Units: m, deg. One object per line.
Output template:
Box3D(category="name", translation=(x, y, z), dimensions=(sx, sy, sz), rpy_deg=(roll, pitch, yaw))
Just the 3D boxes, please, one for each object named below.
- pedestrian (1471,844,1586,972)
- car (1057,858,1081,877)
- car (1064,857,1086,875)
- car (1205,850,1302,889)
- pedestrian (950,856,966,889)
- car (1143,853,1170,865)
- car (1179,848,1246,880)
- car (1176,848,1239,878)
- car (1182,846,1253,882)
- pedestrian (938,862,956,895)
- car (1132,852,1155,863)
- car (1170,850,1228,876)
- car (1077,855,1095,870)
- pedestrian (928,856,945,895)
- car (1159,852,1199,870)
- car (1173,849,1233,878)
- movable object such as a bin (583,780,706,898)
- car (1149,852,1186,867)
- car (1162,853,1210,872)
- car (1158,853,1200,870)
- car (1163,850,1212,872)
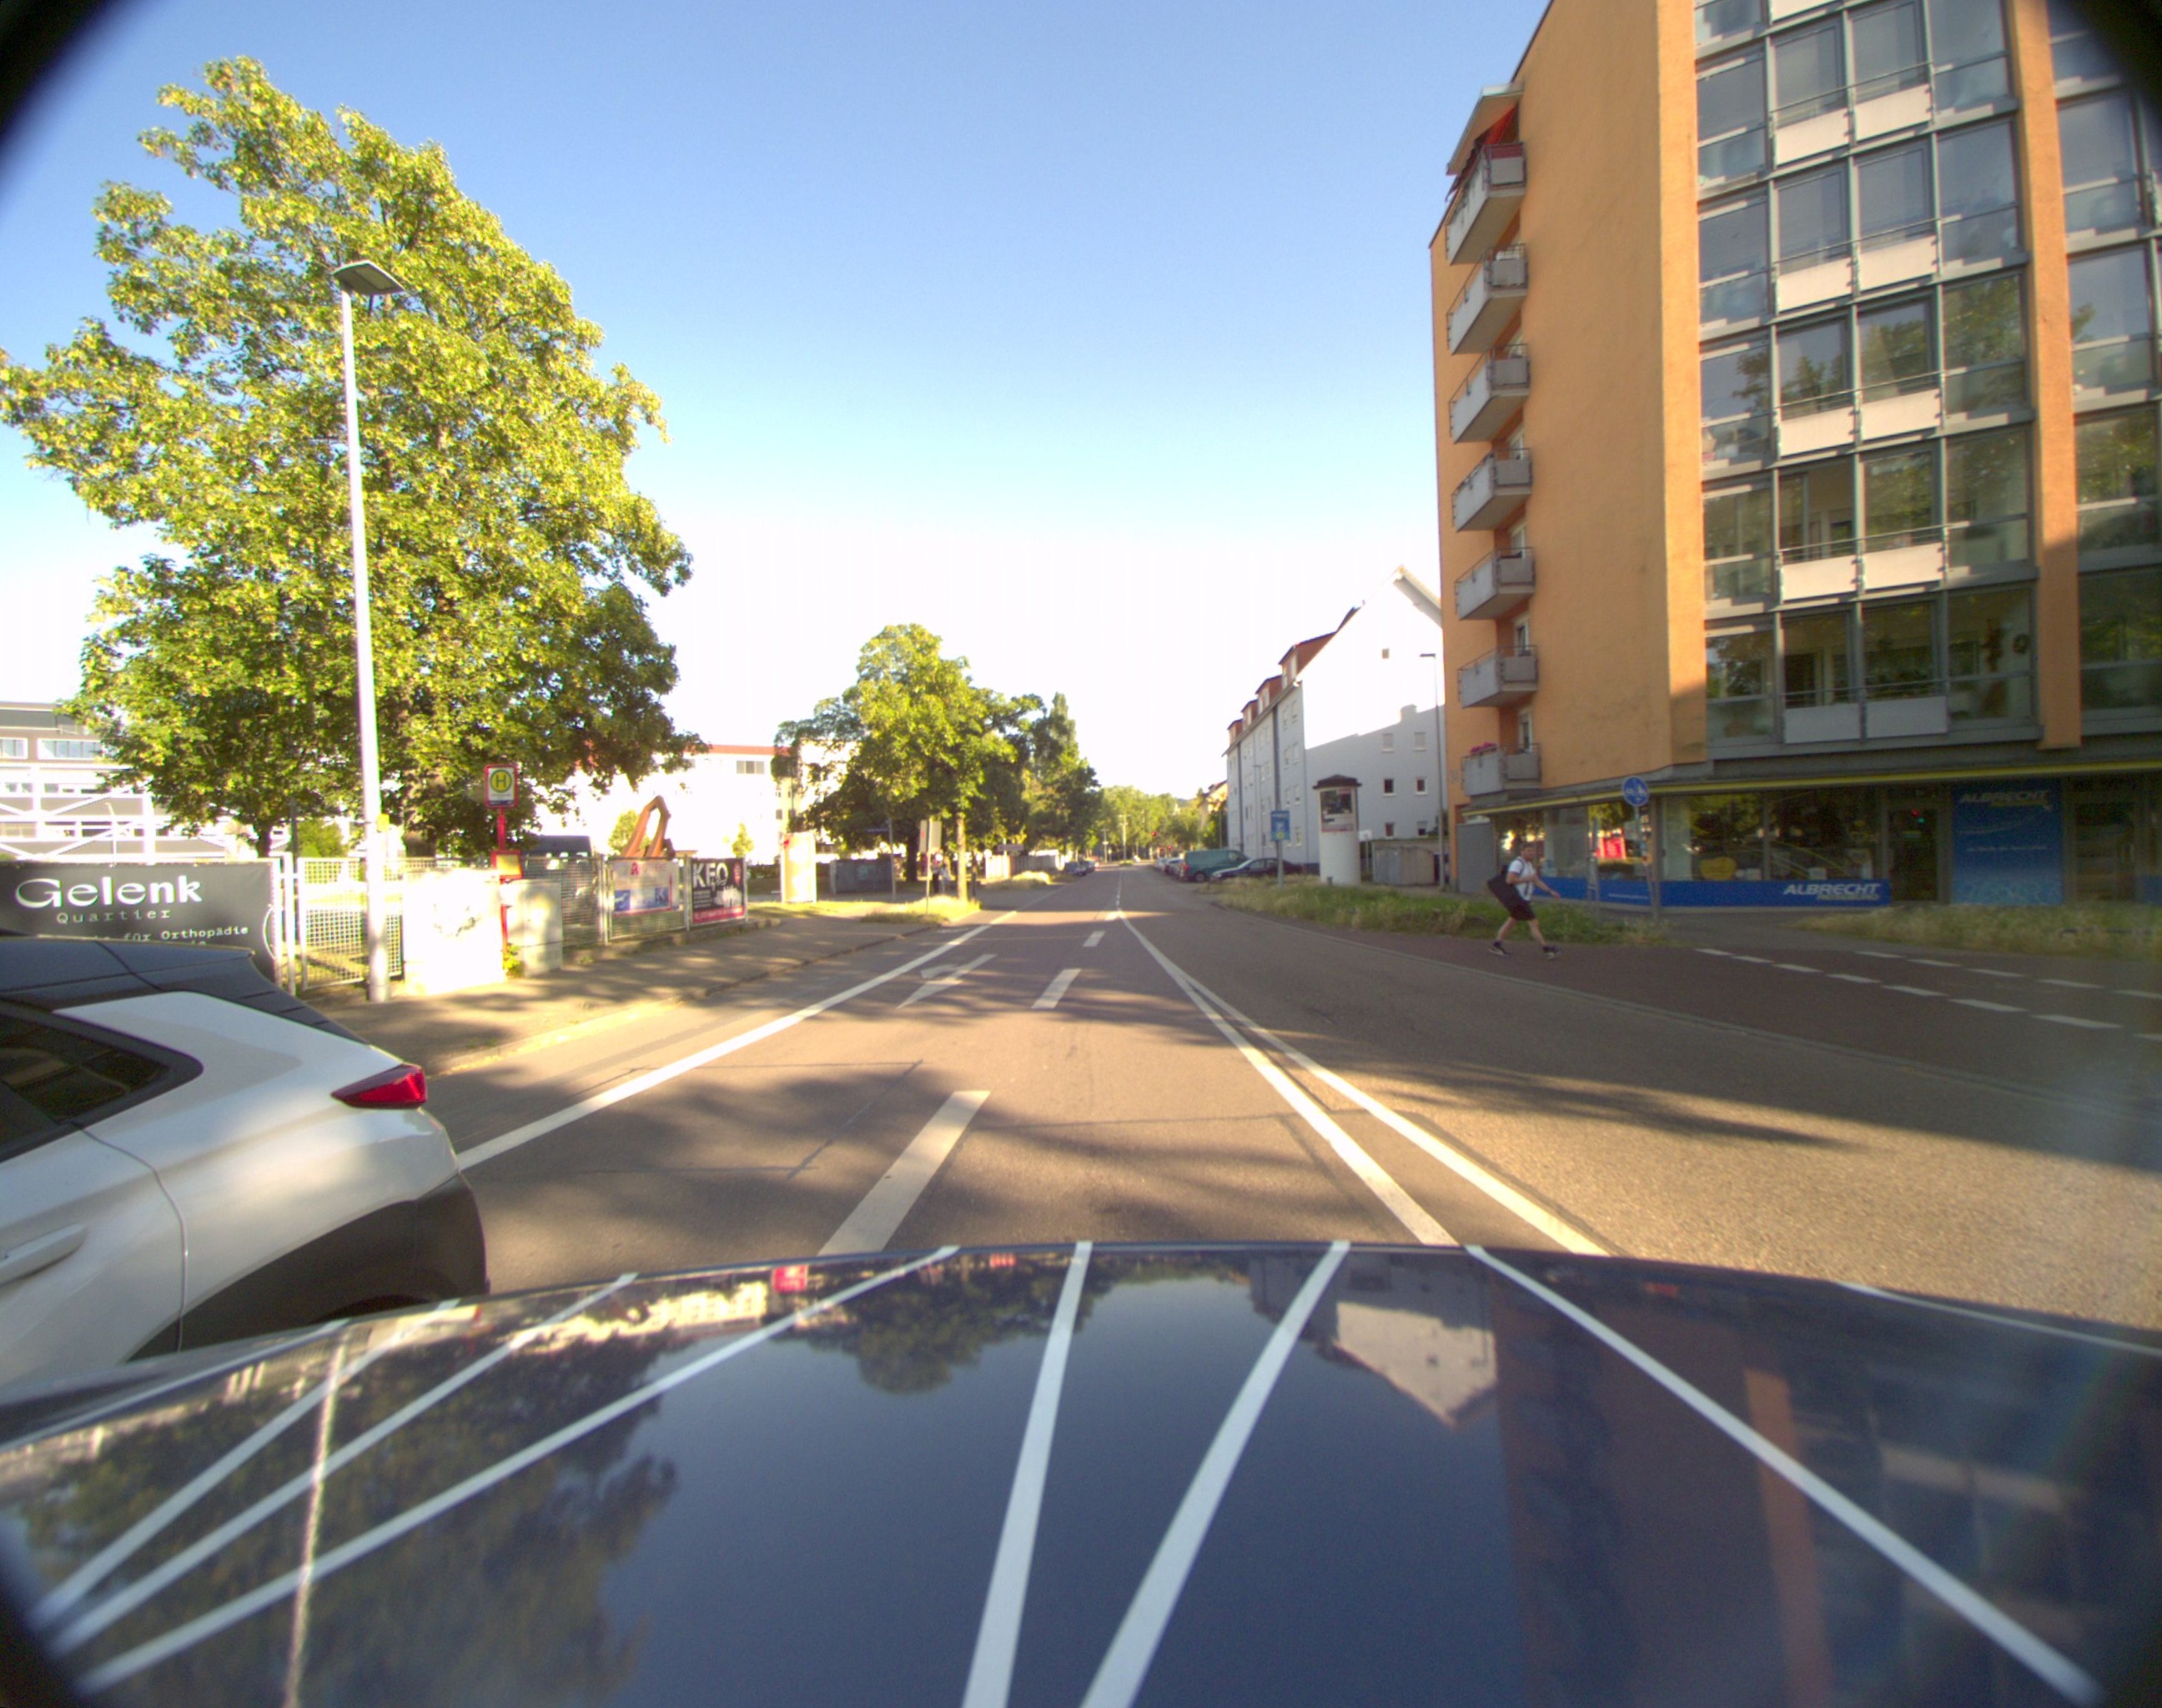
Box3D(category="pedestrian", translation=(6.505, 0.742, 11.085), dimensions=(0.903, 1.727, 1.086), rpy_deg=(-3, 1, -21))
Box3D(category="car", translation=(-1.097, 1.217, 69.595), dimensions=(1.998, 1.521, 3.999), rpy_deg=(-2, 1, 1))
Box3D(category="car", translation=(-0.594, 1.149, 73.943), dimensions=(1.998, 1.521, 3.999), rpy_deg=(-2, 1, 1))
Box3D(category="car", translation=(8.291, 0.731, 36.874), dimensions=(4.423, 1.652, 2.001), rpy_deg=(-2, 1, 9))
Box3D(category="pedestrian", translation=(-6.311, 0.925, 38.986), dimensions=(0.696, 1.659, 0.638), rpy_deg=(-2, 1, -11))
Box3D(category="car", translation=(10.459, 0.703, 105.242), dimensions=(3.538, 1.564, 1.867), rpy_deg=(-2, 1, 5))
Box3D(category="car", translation=(8.349, 0.623, 48.587), dimensions=(3.995, 1.805, 2.000), rpy_deg=(-2, 1, 5))
Box3D(category="car", translation=(8.493, 0.587, 51.343), dimensions=(3.995, 1.805, 2.000), rpy_deg=(-2, 1, 5))
Box3D(category="car", translation=(8.187, 0.593, 45.939), dimensions=(3.996, 1.936, 2.000), rpy_deg=(-2, 1, 4))
Box3D(category="pedestrian", translation=(-5.993, 1.102, 34.076), dimensions=(0.609, 1.426, 0.639), rpy_deg=(-2, 1, 1))
Box3D(category="car", translation=(9.694, 0.588, 118.223), dimensions=(3.538, 1.564, 1.867), rpy_deg=(-2, 1, 5))
Box3D(category="car", translation=(8.740, 0.662, 56.437), dimensions=(4.071, 1.741, 1.899), rpy_deg=(-2, 1, 5))
Box3D(category="car", translation=(0.561, 0.949, 87.976), dimensions=(1.998, 1.521, 3.999), rpy_deg=(-2, 1, 1))
Box3D(category="pedestrian", translation=(-6.570, 0.968, 34.587), dimensions=(0.609, 1.727, 0.638), rpy_deg=(-2, 1, -5))
Box3D(category="car", translation=(10.252, 0.725, 80.067), dimensions=(4.071, 1.741, 1.899), rpy_deg=(-2, 1, 5))
Box3D(category="car", translation=(8.564, 0.667, 53.693), dimensions=(4.059, 1.805, 1.937), rpy_deg=(-2, 1, 5))
Box3D(category="movable object such as a bin", translation=(-22.235, -0.705, 38.549), dimensions=(3.986, 5.447, 6.016), rpy_deg=(-3, 1, -42))
Box3D(category="car", translation=(10.215, 0.645, 90.190), dimensions=(4.257, 1.564, 1.867), rpy_deg=(-2, 1, 5))
Box3D(category="car", translation=(9.561, 0.773, 69.374), dimensions=(4.257, 1.564, 1.867), rpy_deg=(-2, 1, 5))
Box3D(category="car", translation=(10.300, 0.755, 79.931), dimensions=(4.257, 1.564, 1.867), rpy_deg=(-2, 1, 5))
Box3D(category="car", translation=(9.267, 0.608, 66.488), dimensions=(4.117, 1.762, 1.757), rpy_deg=(-2, 1, 5))
